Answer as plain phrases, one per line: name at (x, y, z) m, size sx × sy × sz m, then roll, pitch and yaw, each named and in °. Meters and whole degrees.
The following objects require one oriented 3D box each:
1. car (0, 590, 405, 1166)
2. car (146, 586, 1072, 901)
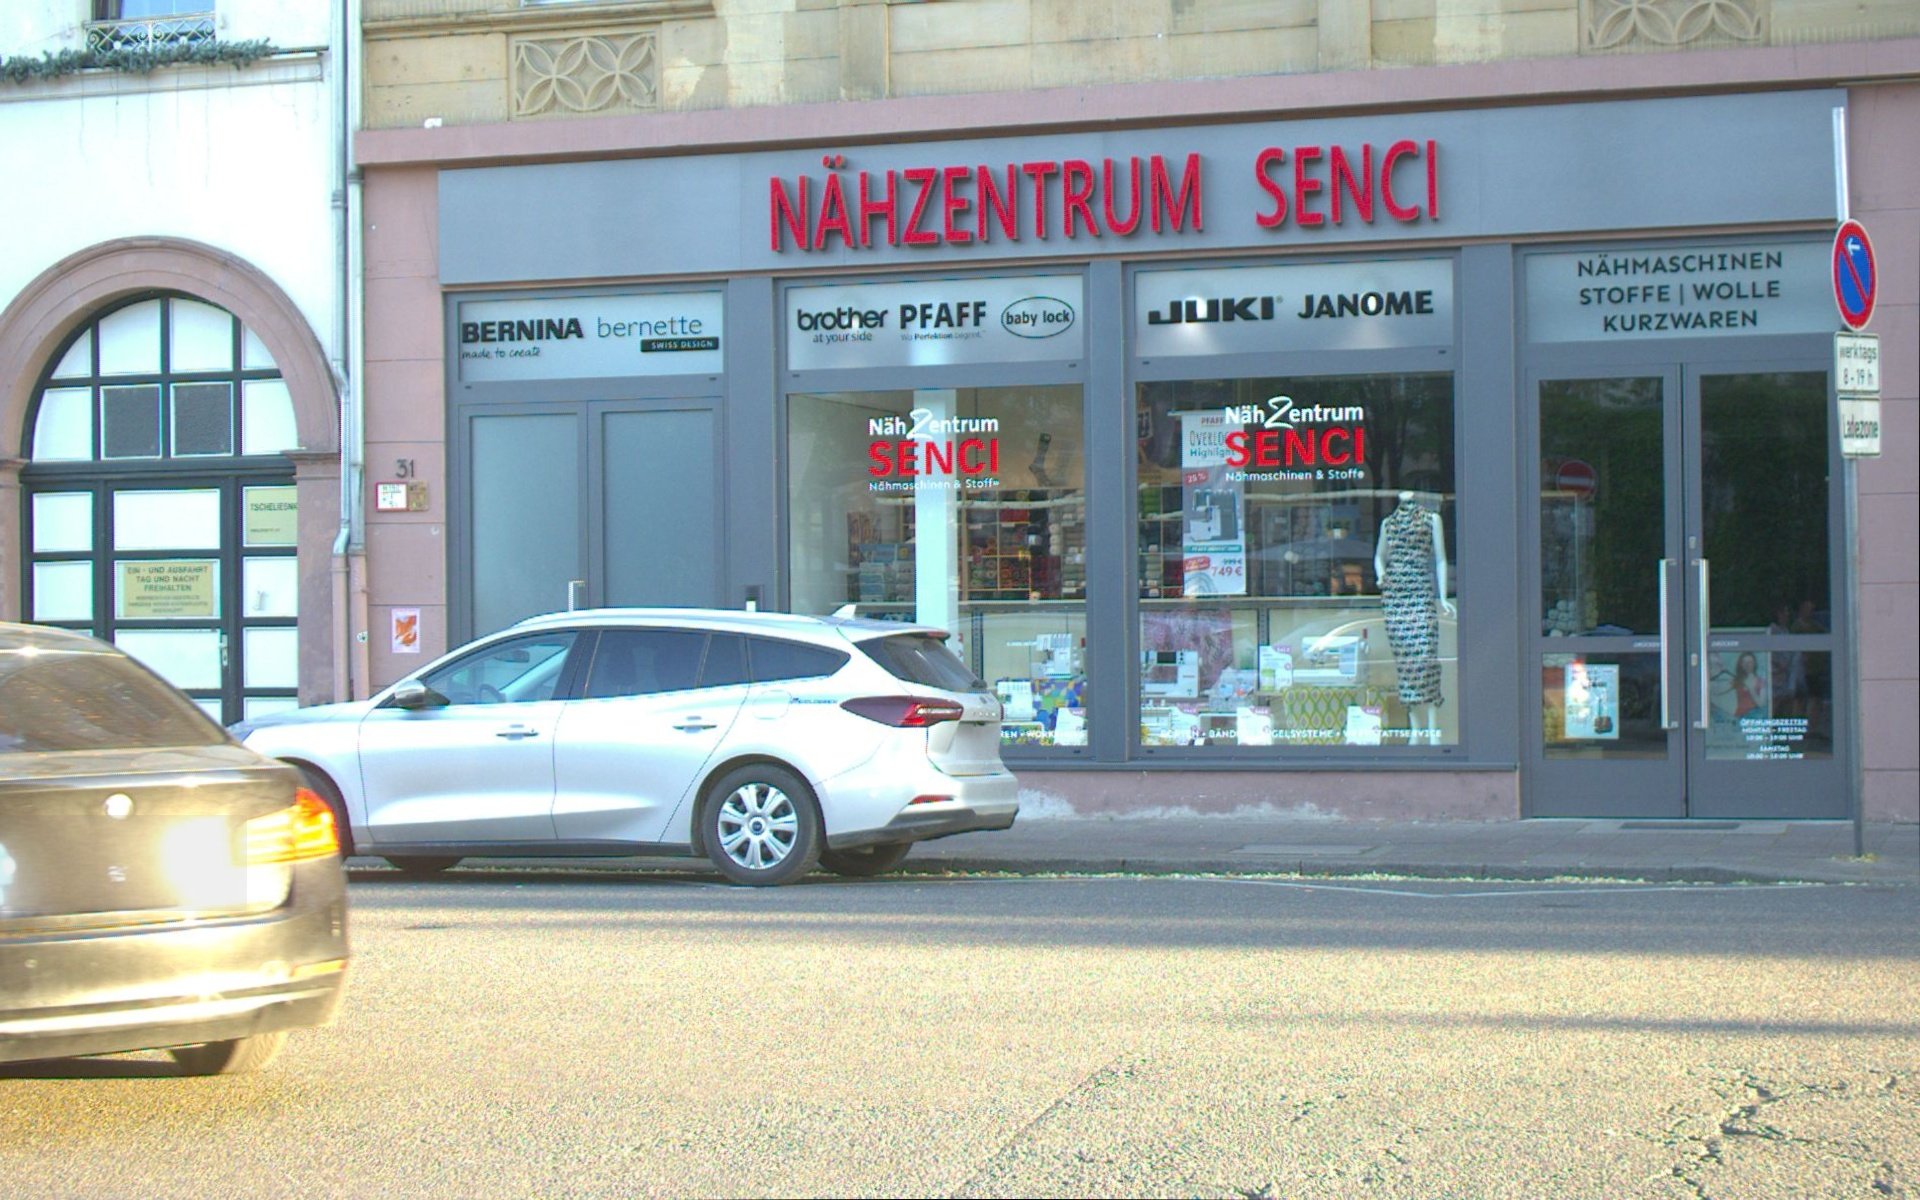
car at (-3.572, 0.752, 10.699) m, size 1.889 × 1.487 × 4.203 m, roll 0°, pitch -1°, yaw -37°
car at (-1.907, 0.726, 19.011) m, size 4.670 × 1.530 × 1.998 m, roll 1°, pitch 0°, yaw 17°
